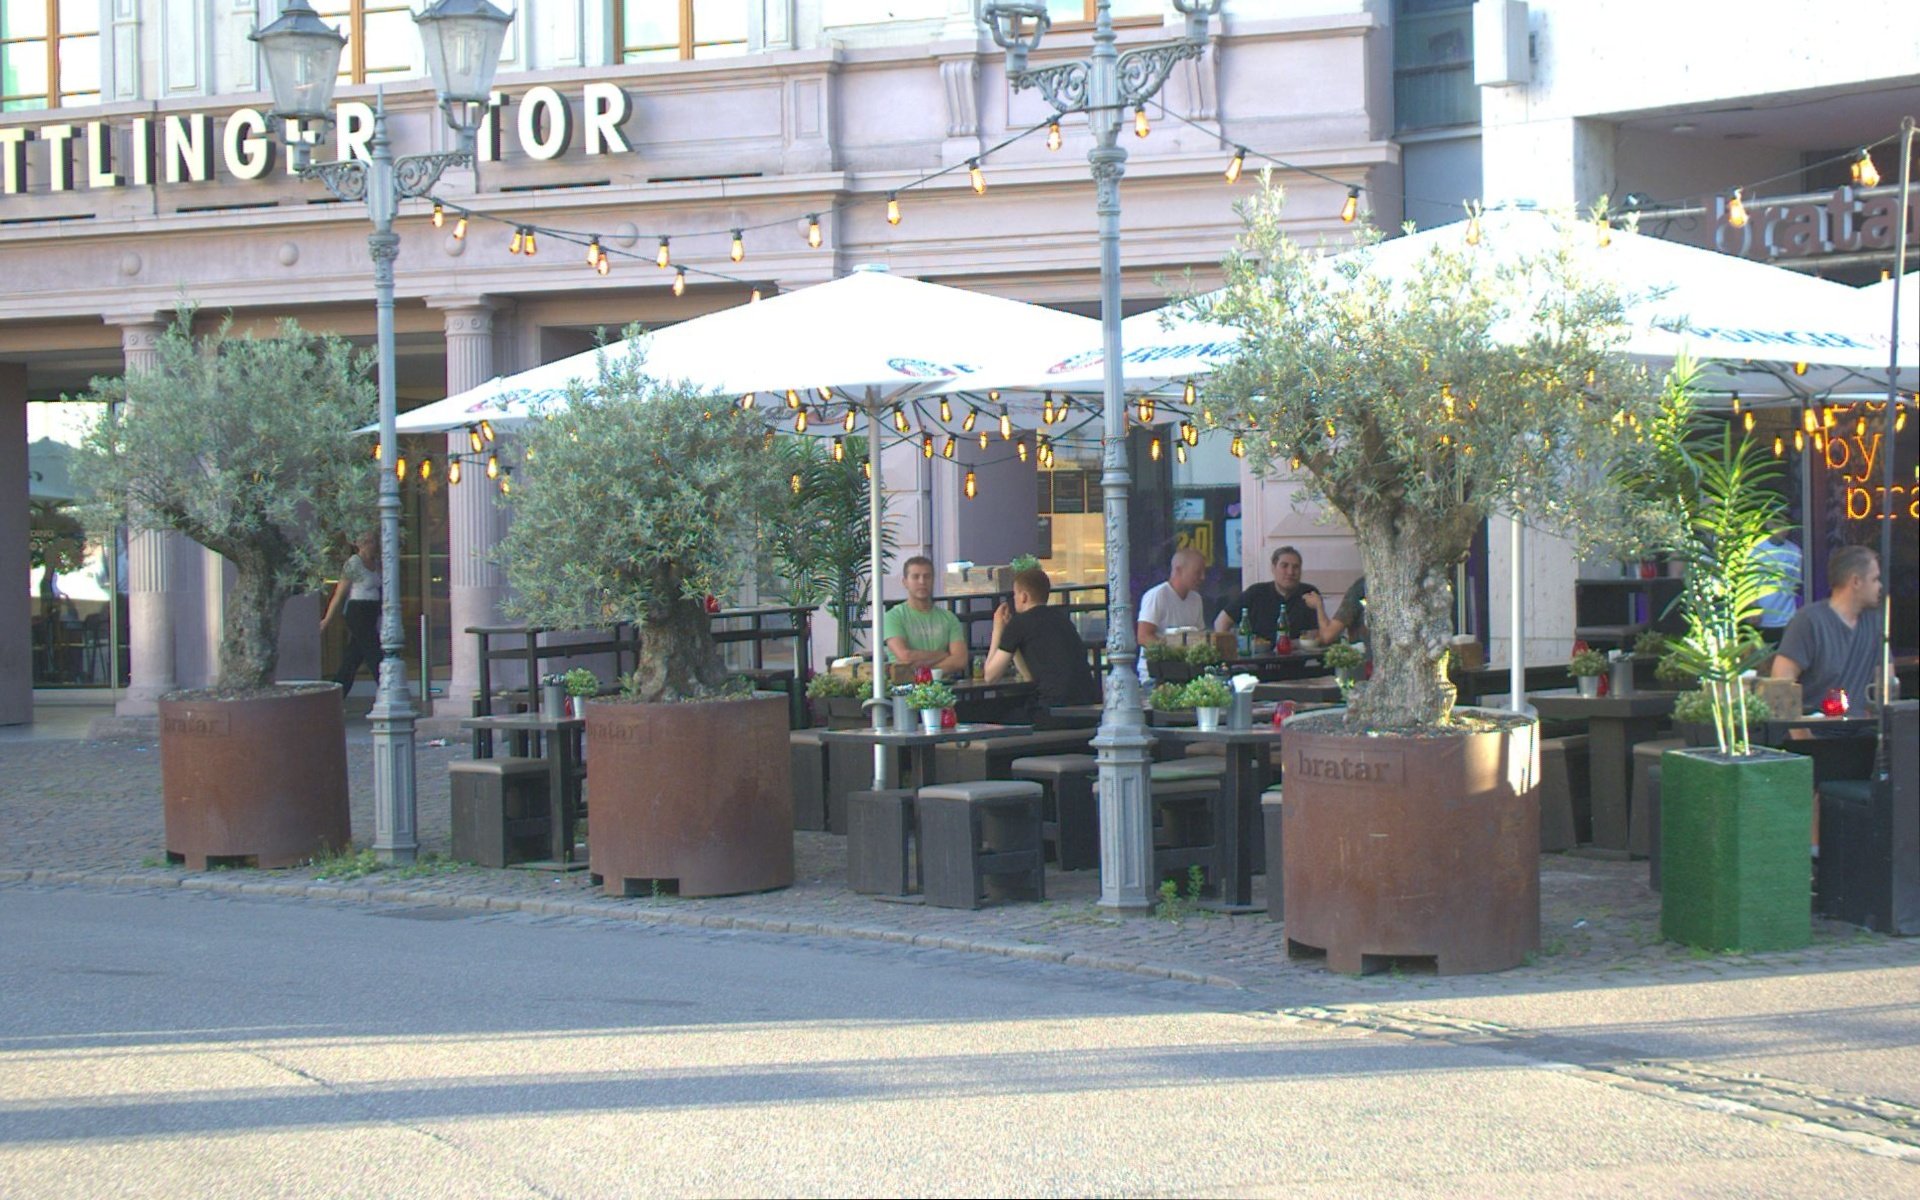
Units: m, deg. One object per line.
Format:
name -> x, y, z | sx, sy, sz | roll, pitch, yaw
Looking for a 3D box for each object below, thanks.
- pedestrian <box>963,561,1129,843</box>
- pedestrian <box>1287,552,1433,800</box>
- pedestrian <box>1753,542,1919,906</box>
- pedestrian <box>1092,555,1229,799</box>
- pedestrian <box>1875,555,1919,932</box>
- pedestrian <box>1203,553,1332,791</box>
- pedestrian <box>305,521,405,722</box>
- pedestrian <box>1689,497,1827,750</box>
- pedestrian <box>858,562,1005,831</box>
pedestrian -> 0.463, 0.534, 18.598 | 0.587, 1.473, 0.684 | -2, 1, -36
pedestrian -> 2.438, 0.450, 20.928 | 0.623, 1.473, 0.623 | 0, 2, 41
pedestrian -> 3.700, 0.501, 14.342 | 0.528, 1.473, 0.563 | -1, 1, -20
pedestrian -> 1.242, 0.465, 21.353 | 0.590, 1.473, 0.624 | -1, 1, -28
pedestrian -> 4.006, 0.560, 13.568 | 0.528, 1.473, 0.563 | -1, 1, -19
pedestrian -> 1.949, 0.442, 21.814 | 0.543, 1.473, 0.624 | -1, 1, -28
pedestrian -> -5.263, 0.183, 29.918 | 0.623, 1.722, 0.544 | 0, 1, 26
pedestrian -> 5.527, 0.148, 23.825 | 0.616, 1.715, 0.693 | -2, 3, -43
pedestrian -> -0.162, 0.526, 19.364 | 0.544, 1.473, 0.624 | -2, 1, -38
